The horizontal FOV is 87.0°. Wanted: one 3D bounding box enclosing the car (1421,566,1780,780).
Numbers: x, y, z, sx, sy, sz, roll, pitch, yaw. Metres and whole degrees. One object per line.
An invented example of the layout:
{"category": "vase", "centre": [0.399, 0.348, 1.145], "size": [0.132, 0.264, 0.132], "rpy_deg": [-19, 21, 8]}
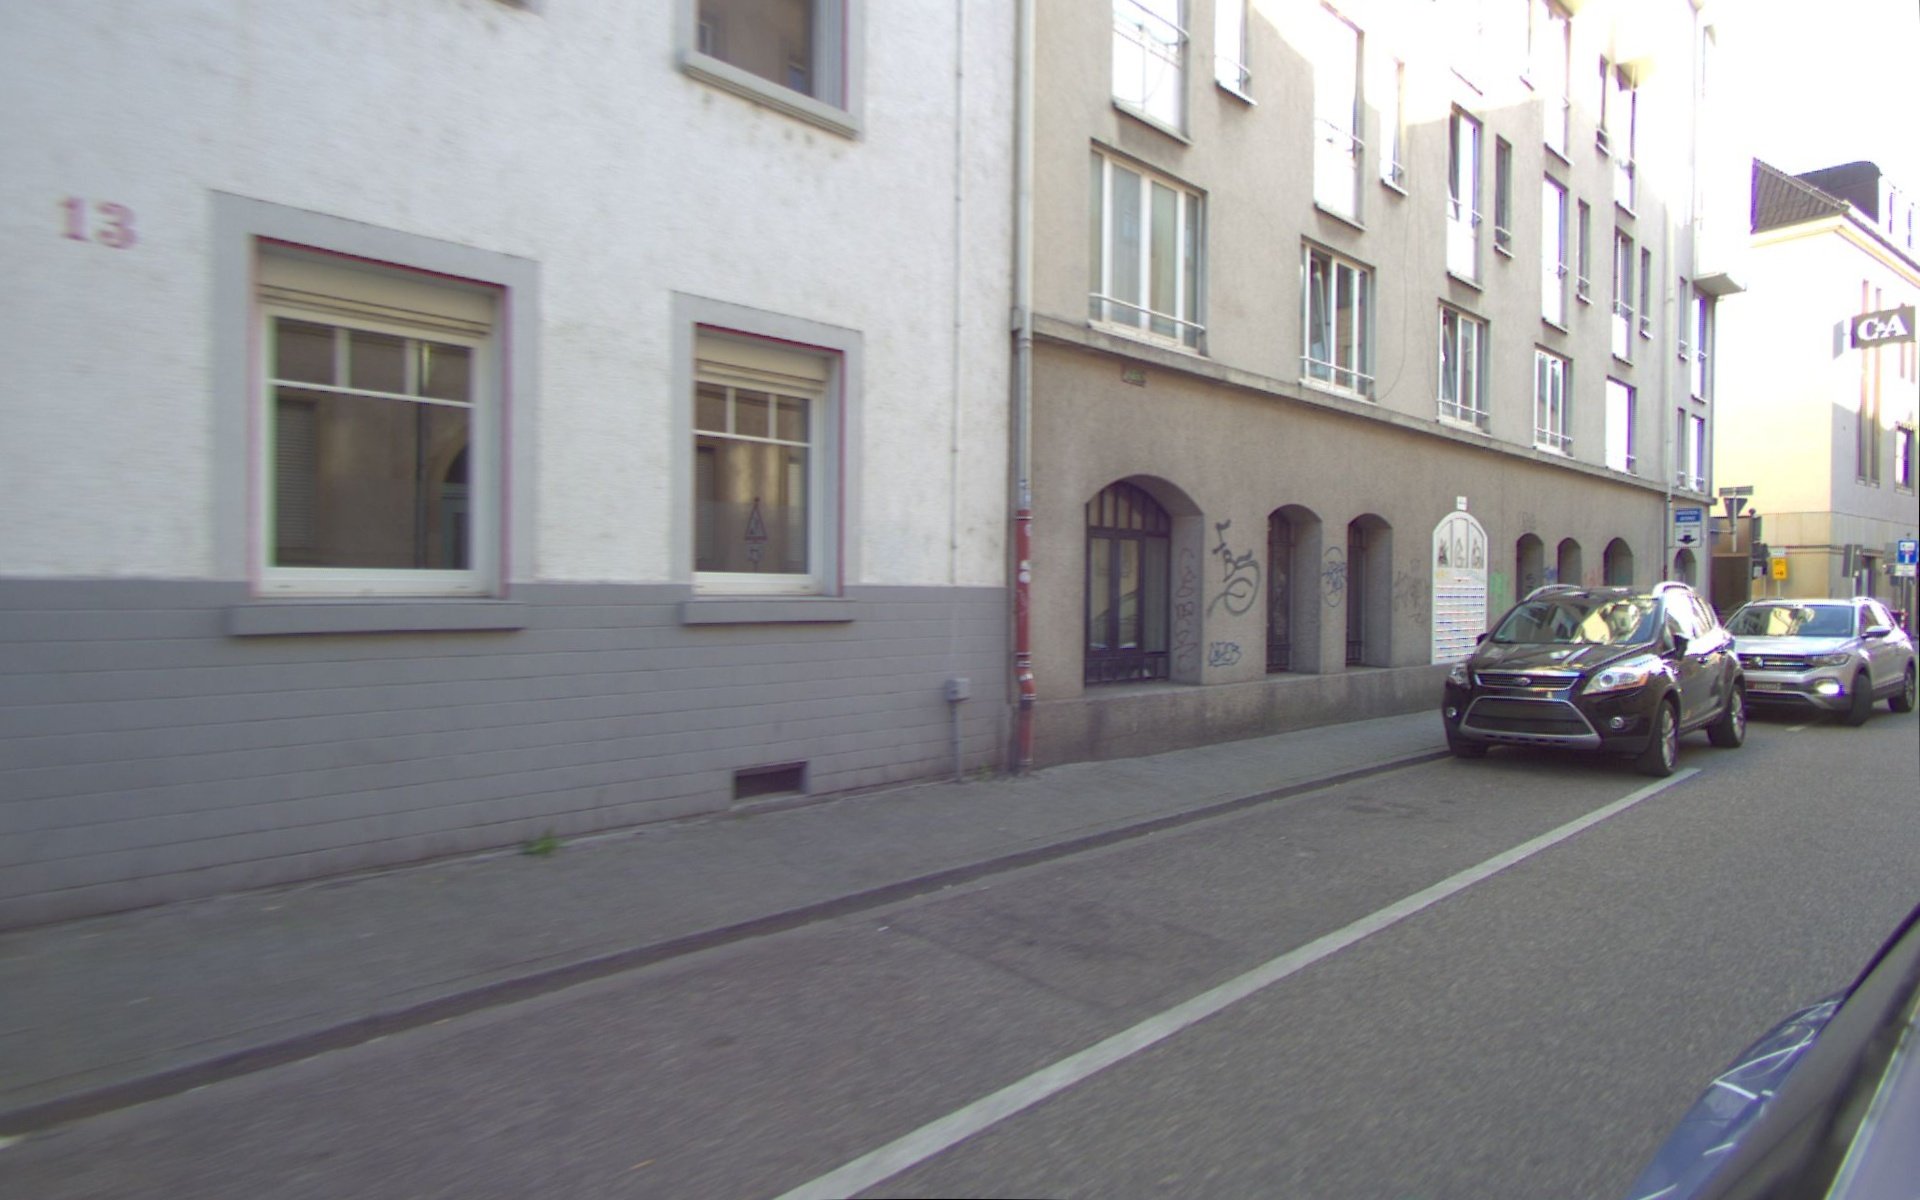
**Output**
{"category": "car", "centre": [6.512, 0.564, 10.087], "size": [4.414, 1.675, 1.828], "rpy_deg": [0, 0, -41]}

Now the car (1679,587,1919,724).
{"category": "car", "centre": [11.439, 0.628, 13.590], "size": [3.913, 1.579, 1.830], "rpy_deg": [0, 0, -37]}

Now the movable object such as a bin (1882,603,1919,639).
{"category": "movable object such as a bin", "centre": [29.238, 0.651, 31.468], "size": [0.912, 1.100, 0.688], "rpy_deg": [0, -1, -37]}
